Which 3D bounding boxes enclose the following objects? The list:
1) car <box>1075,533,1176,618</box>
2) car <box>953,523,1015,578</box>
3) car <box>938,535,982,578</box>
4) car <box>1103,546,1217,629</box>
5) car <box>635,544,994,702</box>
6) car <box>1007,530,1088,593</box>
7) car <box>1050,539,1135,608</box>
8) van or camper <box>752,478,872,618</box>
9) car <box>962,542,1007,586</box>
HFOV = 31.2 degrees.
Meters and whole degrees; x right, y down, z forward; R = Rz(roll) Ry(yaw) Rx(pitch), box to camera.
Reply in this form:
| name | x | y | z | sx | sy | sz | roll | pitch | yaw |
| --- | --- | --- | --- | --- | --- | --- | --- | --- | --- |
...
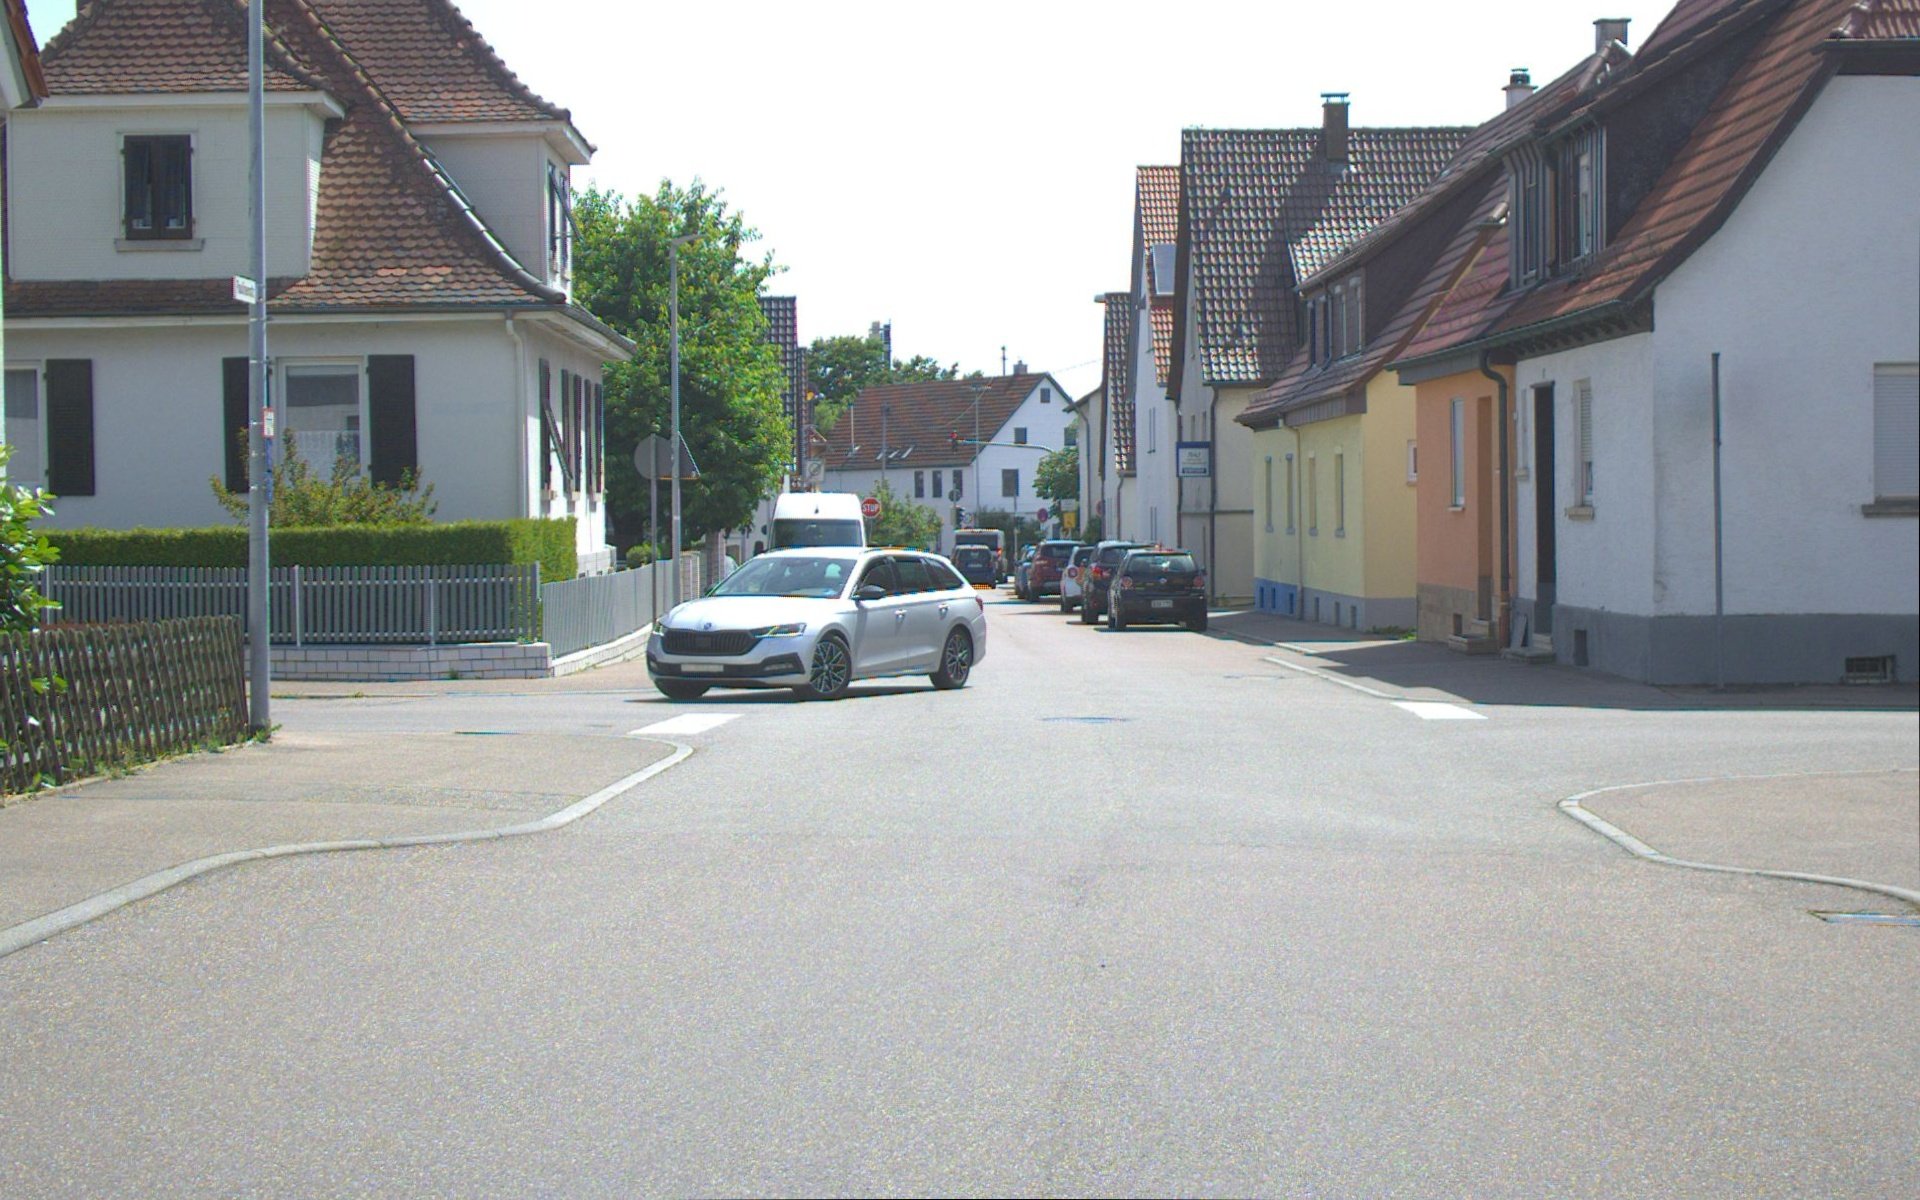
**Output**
| name | x | y | z | sx | sy | sz | roll | pitch | yaw |
| --- | --- | --- | --- | --- | --- | --- | --- | --- | --- |
| car | 3.204 | -0.501 | 67.199 | 1.728 | 1.594 | 4.253 | 0 | 1 | -1 |
| car | 0.979 | -2.007 | 139.436 | 2.129 | 2.151 | 4.735 | -1 | 1 | 5 |
| car | 0.011 | -1.645 | 129.005 | 1.516 | 1.619 | 3.184 | 0 | 1 | 2 |
| car | 3.537 | -0.240 | 61.426 | 1.610 | 1.426 | 3.754 | 0 | 1 | -3 |
| car | -1.335 | 0.171 | 33.740 | 1.755 | 1.433 | 4.583 | 0 | 1 | 23 |
| car | 2.375 | -1.072 | 94.051 | 1.875 | 1.694 | 4.184 | 0 | 1 | -3 |
| car | 3.025 | -0.622 | 79.138 | 1.673 | 1.553 | 3.041 | 0 | 1 | -3 |
| van or camper | -2.821 | -1.026 | 66.861 | 2.184 | 2.563 | 6.808 | 0 | 1 | -1 |
| car | 0.895 | -1.321 | 125.285 | 1.516 | 1.561 | 3.184 | 0 | 1 | 2 |
